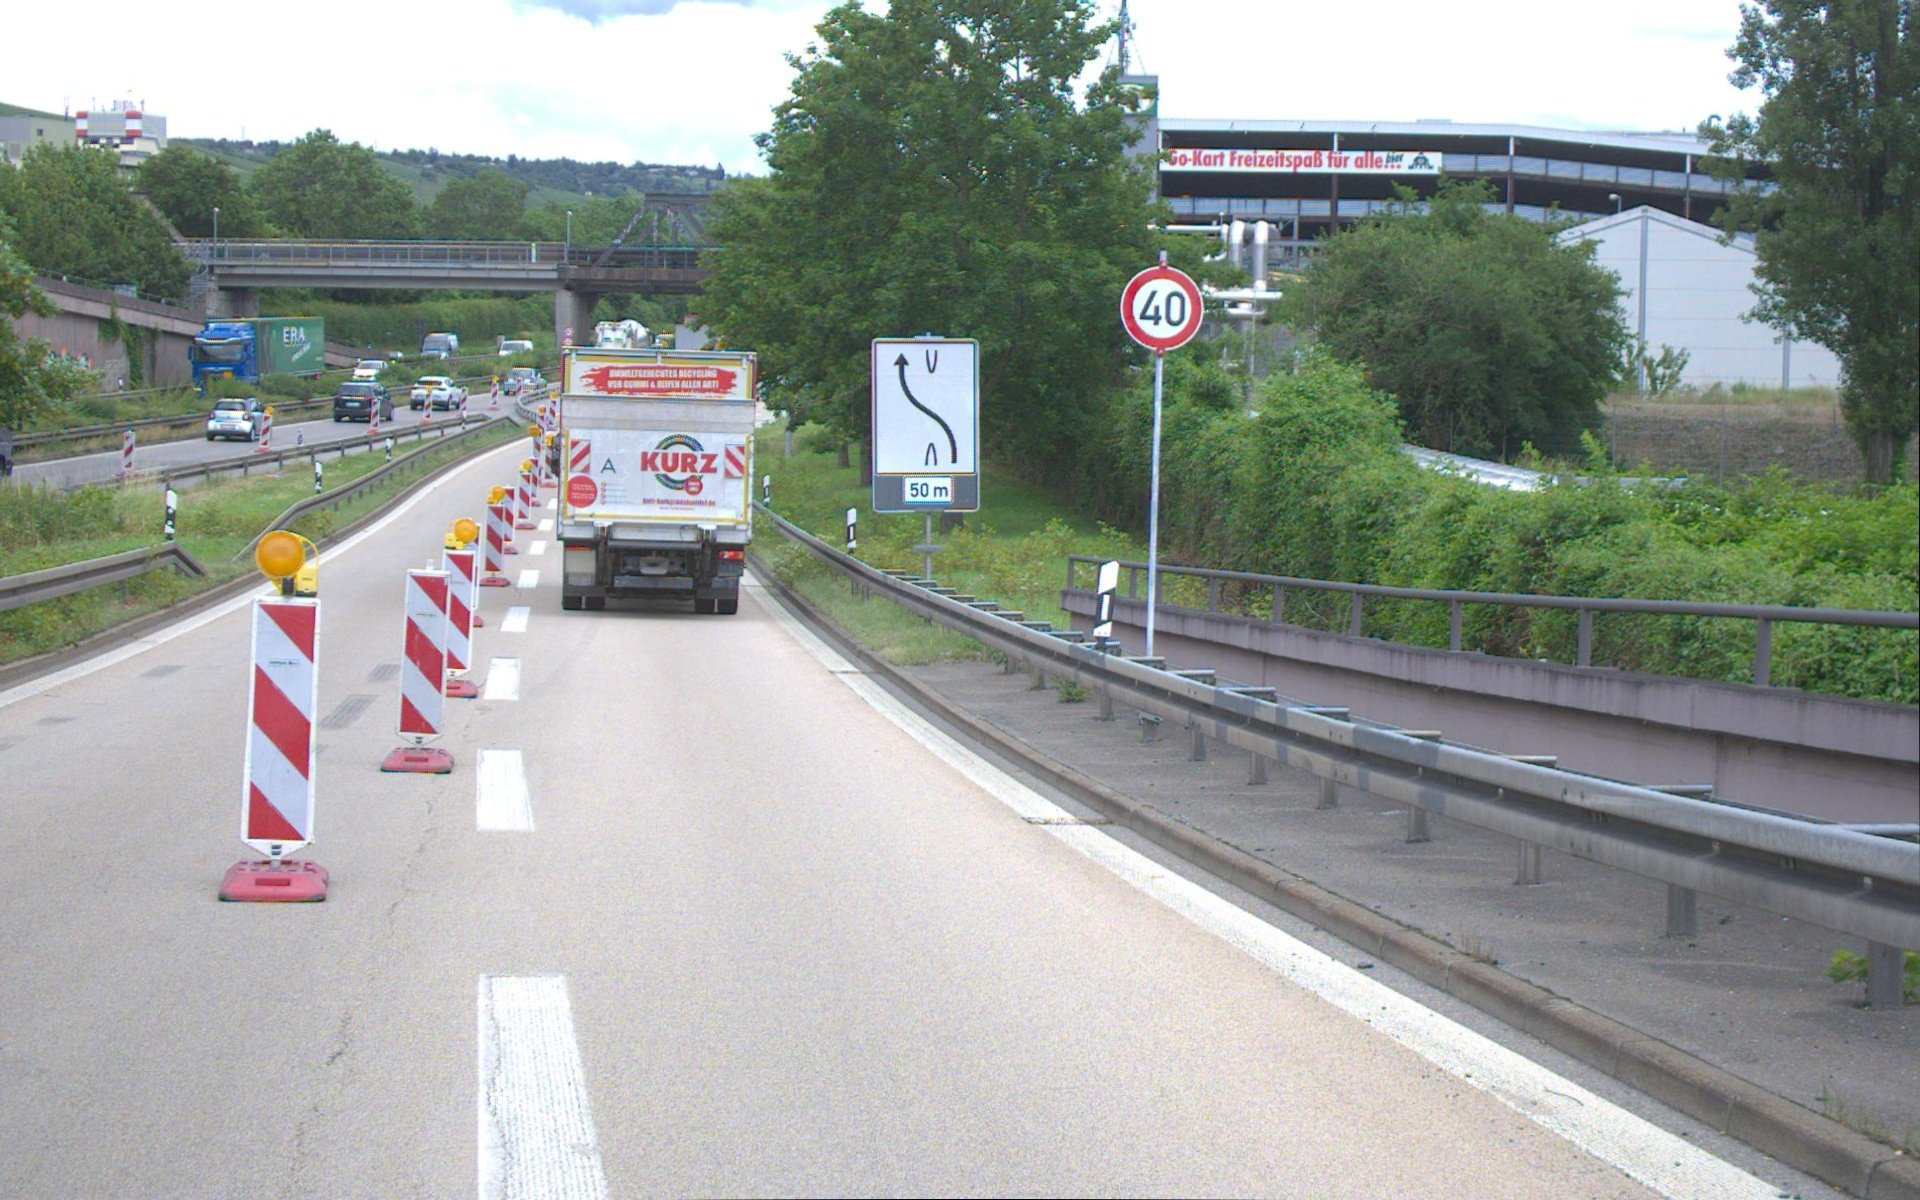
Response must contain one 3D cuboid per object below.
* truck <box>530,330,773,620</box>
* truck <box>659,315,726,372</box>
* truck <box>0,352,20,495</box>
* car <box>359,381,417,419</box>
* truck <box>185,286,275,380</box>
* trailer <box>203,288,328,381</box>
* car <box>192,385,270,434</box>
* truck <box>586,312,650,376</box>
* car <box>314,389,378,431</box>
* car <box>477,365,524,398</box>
[{"bbox_3d":[-4.398,-1.799,48.315,3.050,3.660,7.930,1,3,-6],"label":"truck"},{"bbox_3d":[-17.426,-16.701,224.121,3.287,3.587,7.665,2,4,3],"label":"truck"},{"bbox_3d":[-26.010,-4.403,85.884,3.051,3.643,7.397,2,4,-1],"label":"truck"},{"bbox_3d":[-25.498,-8.929,153.312,1.993,1.612,4.001,2,4,-1],"label":"car"},{"bbox_3d":[-34.170,-12.484,161.097,2.753,4.256,5.503,2,4,3],"label":"truck"},{"bbox_3d":[-33.863,-12.954,168.201,2.771,4.278,13.982,2,4,2],"label":"trailer"},{"bbox_3d":[-26.092,-6.835,123.127,1.993,1.612,4.001,2,4,-1],"label":"car"},{"bbox_3d":[-21.505,-16.112,216.507,3.286,3.838,7.667,2,4,-1],"label":"truck"},{"bbox_3d":[-25.392,-7.859,142.251,1.993,1.612,4.001,2,4,-1],"label":"car"},{"bbox_3d":[-24.037,-11.453,180.010,1.993,1.612,4.001,2,4,-1],"label":"car"}]
